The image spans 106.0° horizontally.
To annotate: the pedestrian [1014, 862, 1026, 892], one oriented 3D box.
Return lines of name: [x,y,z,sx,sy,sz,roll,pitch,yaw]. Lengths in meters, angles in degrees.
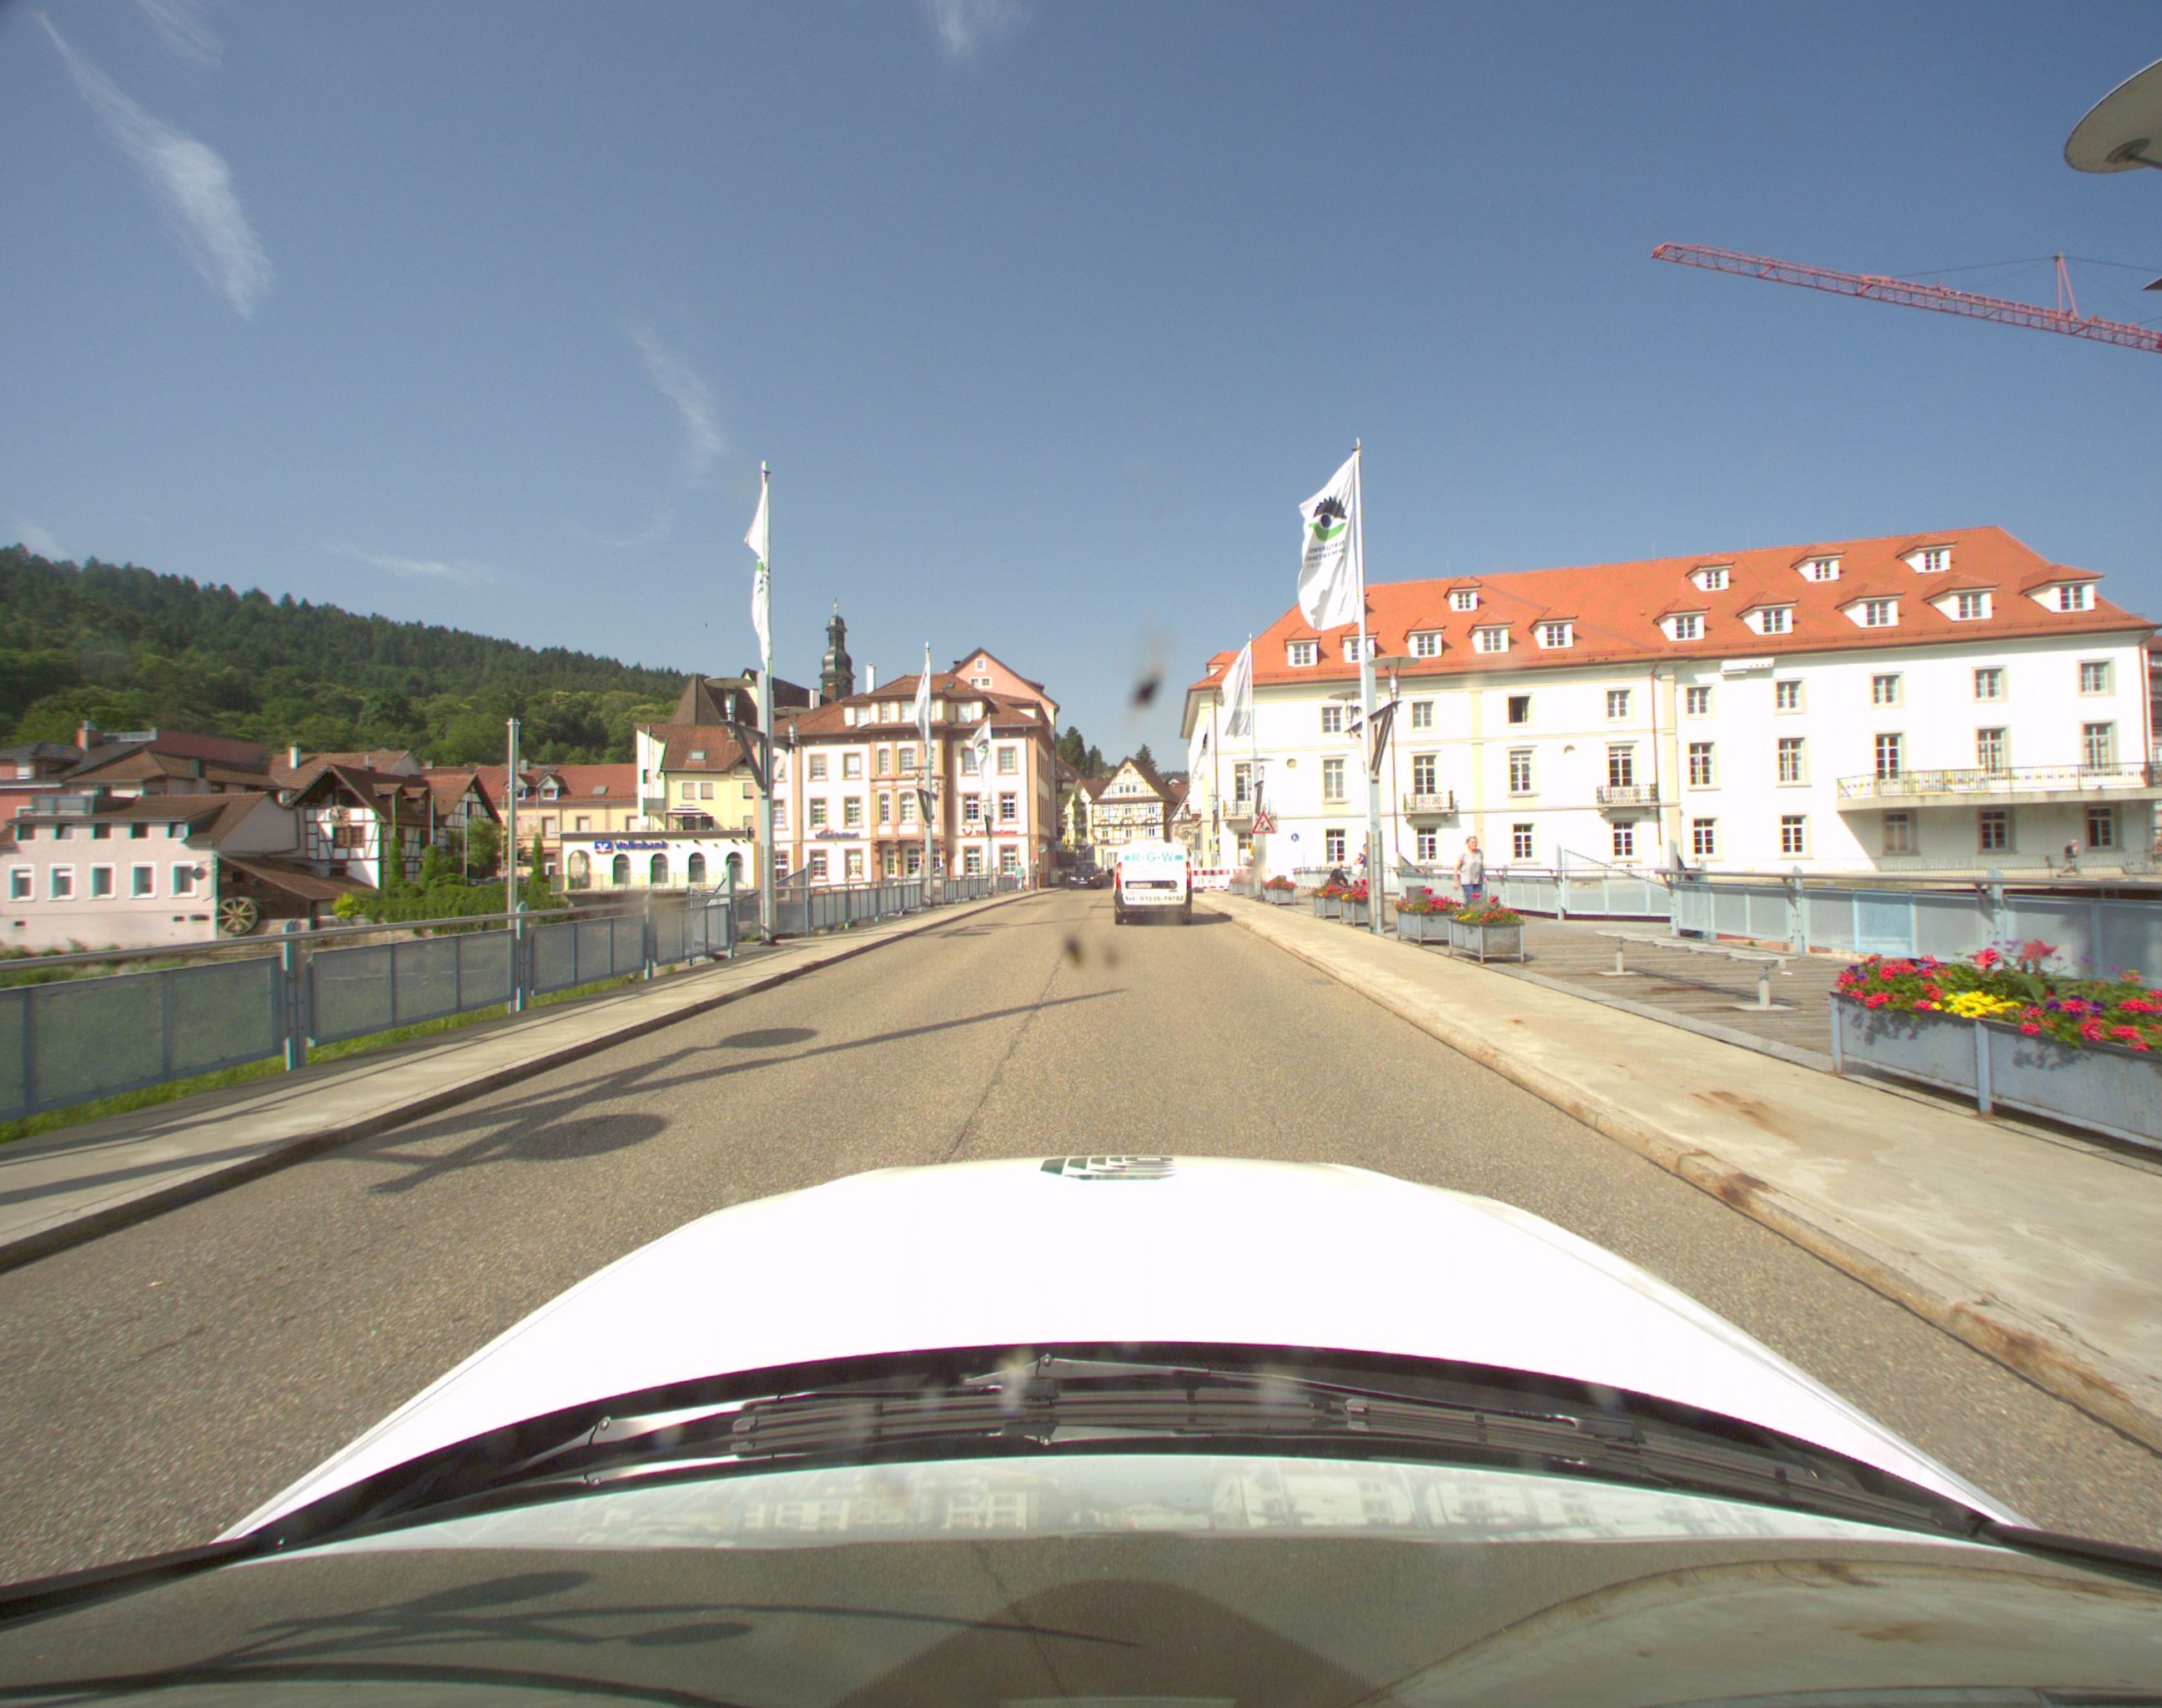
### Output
pedestrian: [-3.242,1.229,43.458,0.581,1.610,0.537,0,0,1]

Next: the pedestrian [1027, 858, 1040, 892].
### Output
pedestrian: [-2.511,1.120,43.176,0.612,1.762,0.864,0,0,2]

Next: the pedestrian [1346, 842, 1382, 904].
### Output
pedestrian: [8.050,0.533,23.175,0.724,1.723,0.747,-1,0,-2]

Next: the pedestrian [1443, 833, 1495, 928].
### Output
pedestrian: [6.767,0.452,14.224,0.662,1.618,0.564,-1,0,6]

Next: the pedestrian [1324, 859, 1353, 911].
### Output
pedestrian: [6.384,0.762,20.206,0.450,1.244,0.626,-2,-2,-2]

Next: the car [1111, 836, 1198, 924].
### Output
car: [1.687,0.602,19.969,1.837,1.906,4.316,-1,-1,1]

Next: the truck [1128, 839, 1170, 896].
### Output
truck: [3.221,0.633,39.219,1.854,2.585,4.262,-1,-1,2]

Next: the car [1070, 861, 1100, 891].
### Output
car: [0.271,1.336,51.320,1.770,1.792,4.698,0,0,1]

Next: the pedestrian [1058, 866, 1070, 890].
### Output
pedestrian: [-1.317,1.869,63.086,0.800,1.857,0.616,-1,0,2]
